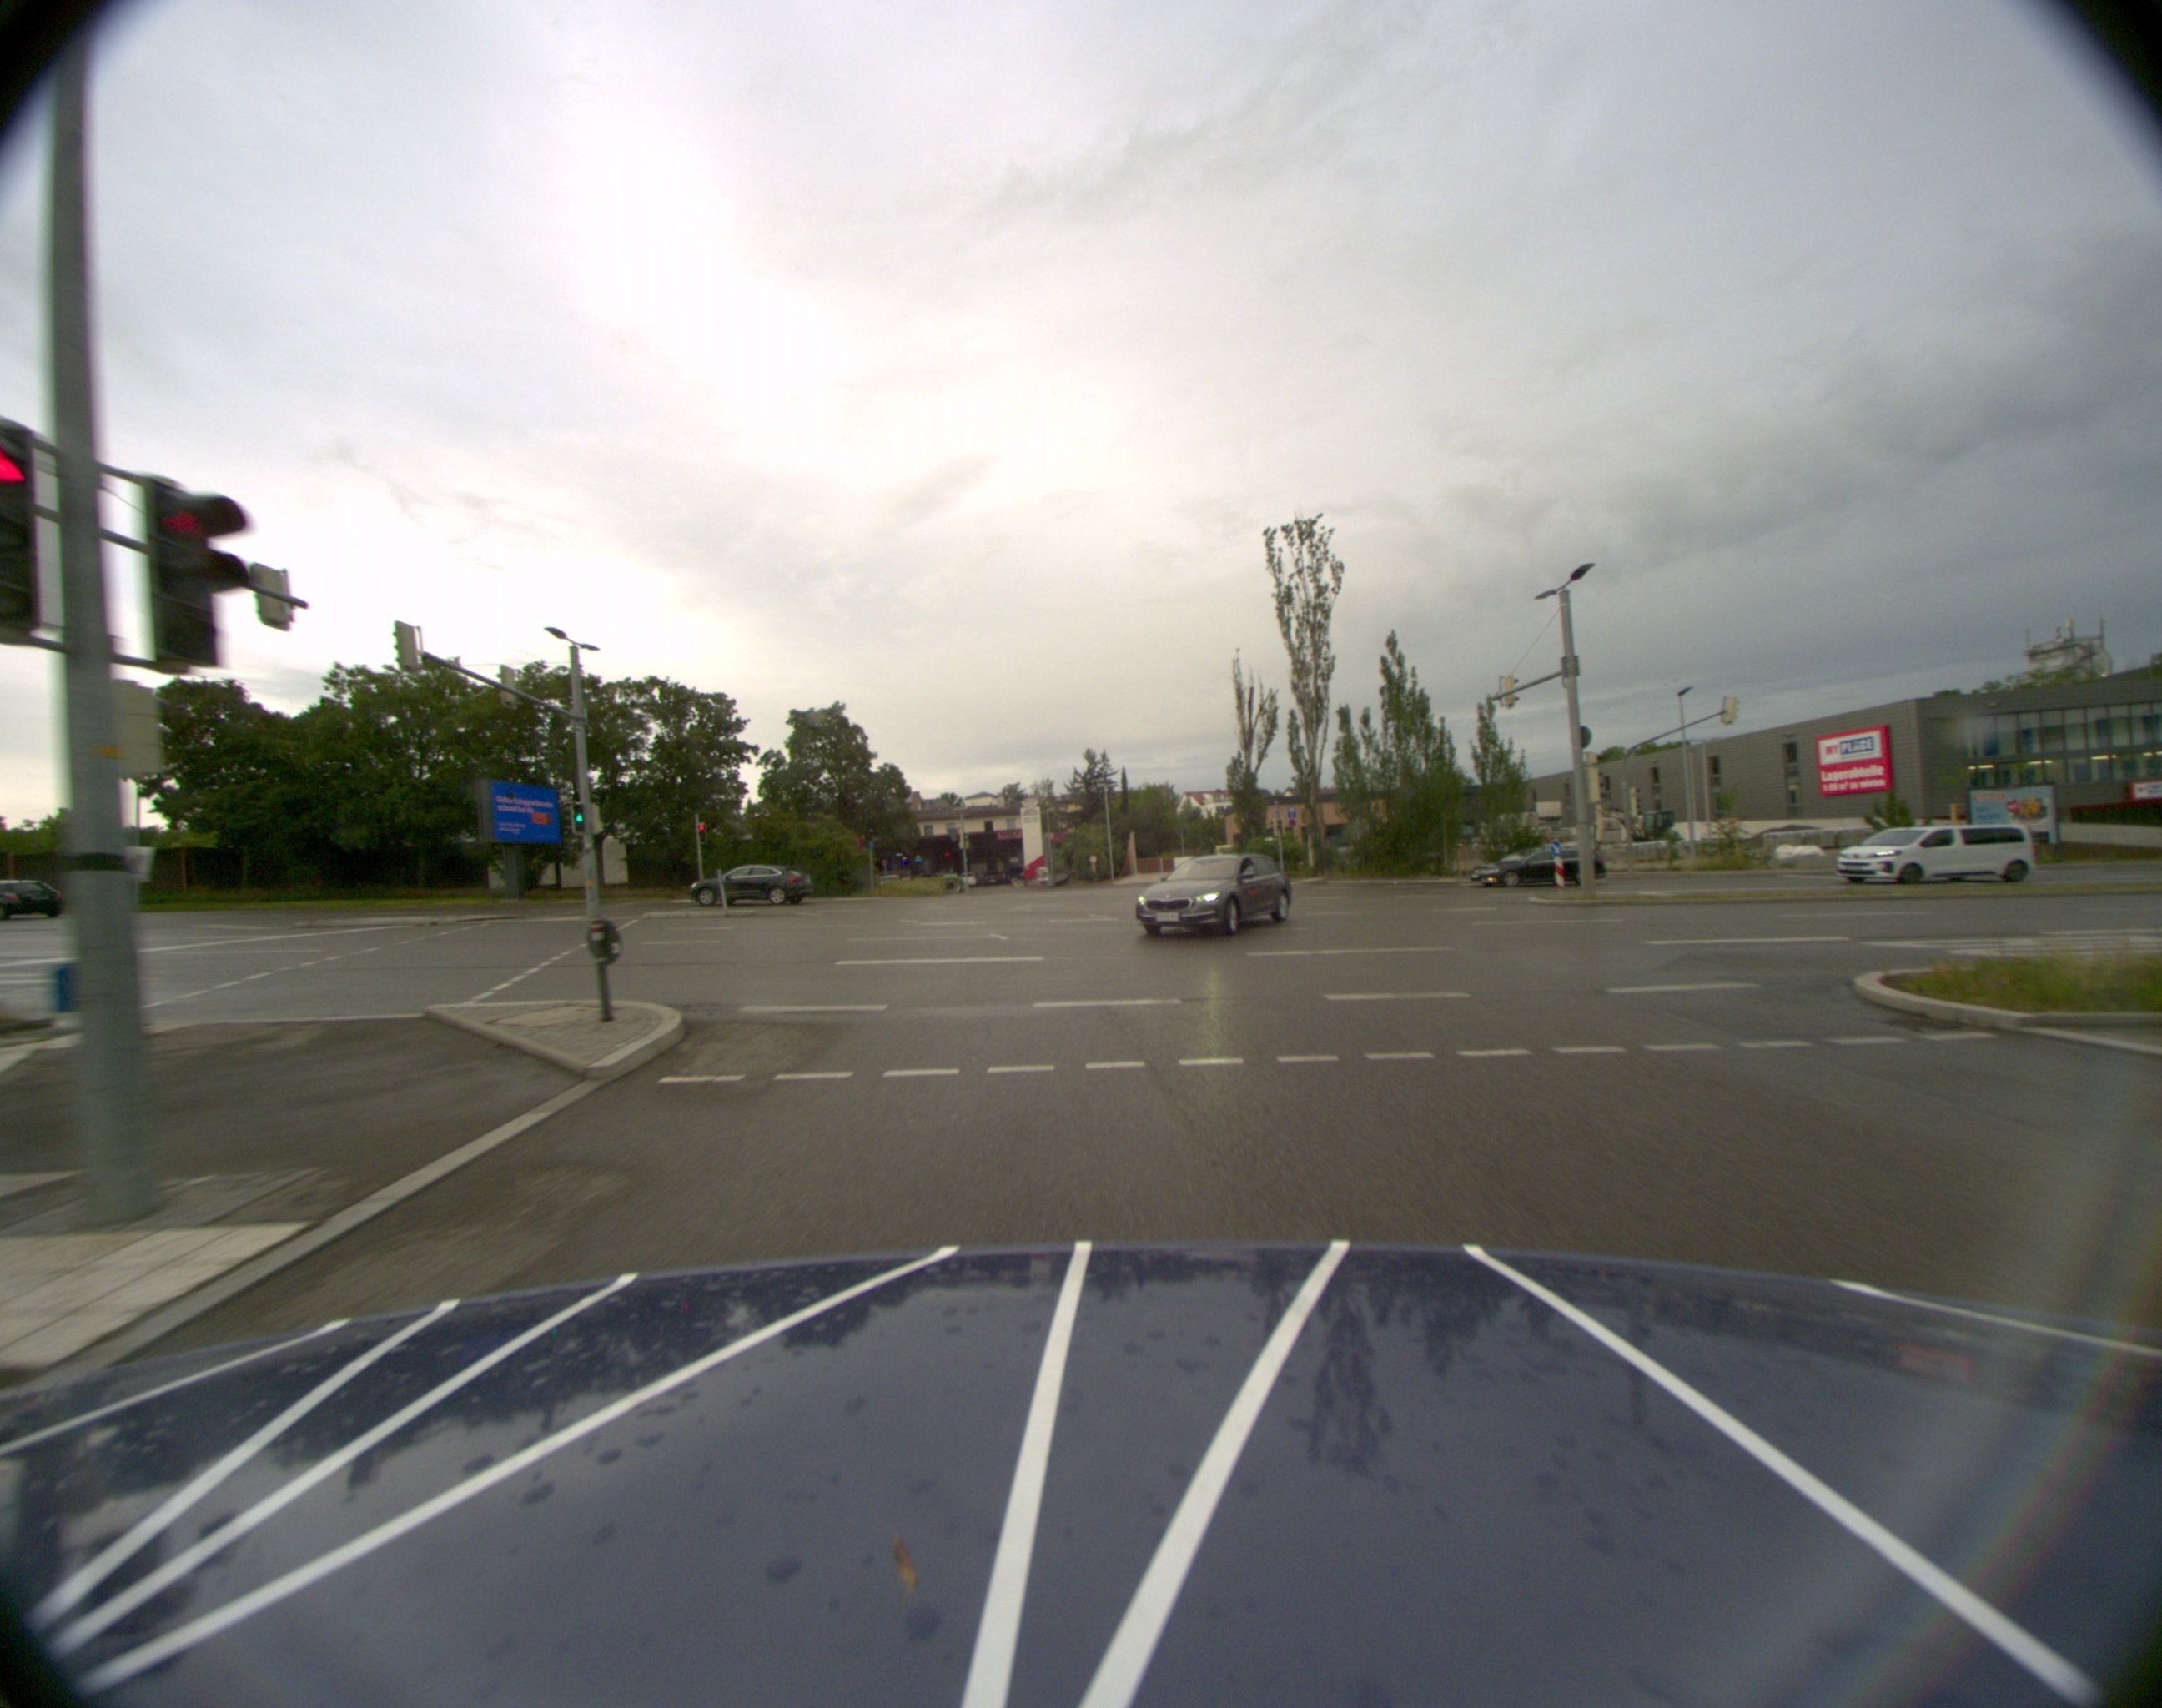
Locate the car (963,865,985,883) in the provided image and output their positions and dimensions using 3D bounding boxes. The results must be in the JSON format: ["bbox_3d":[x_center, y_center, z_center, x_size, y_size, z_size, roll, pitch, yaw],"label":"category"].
[{"bbox_3d":[-10.912,2.030,77.448,1.746,1.641,3.999,-1,0,-2],"label":"car"}]

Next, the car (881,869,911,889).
[{"bbox_3d":[-16.169,2.184,66.648,1.746,1.641,3.999,-1,0,-2],"label":"car"}]

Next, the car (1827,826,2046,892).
[{"bbox_3d":[28.515,0.169,25.449,5.189,2.022,1.840,-2,0,1],"label":"car"}]

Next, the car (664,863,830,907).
[{"bbox_3d":[-12.725,1.177,29.169,5.530,1.491,1.840,-2,0,0],"label":"car"}]

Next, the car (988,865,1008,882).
[{"bbox_3d":[-8.410,1.971,77.306,1.746,1.641,3.999,-1,0,-2],"label":"car"}]

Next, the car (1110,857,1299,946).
[{"bbox_3d":[2.572,0.830,15.007,1.835,1.448,4.211,-1,0,38],"label":"car"}]

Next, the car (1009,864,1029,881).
[{"bbox_3d":[-6.243,1.875,77.156,1.746,1.641,3.999,-1,0,-2],"label":"car"}]

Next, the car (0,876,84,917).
[{"bbox_3d":[-42.252,1.694,29.881,3.823,1.491,1.726,-2,0,1],"label":"car"}]

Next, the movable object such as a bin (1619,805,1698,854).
[{"bbox_3d":[32.538,-1.370,42.883,2.998,2.611,1.928,-1,0,-5],"label":"movable object such as a bin"}]

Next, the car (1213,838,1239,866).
[{"bbox_3d":[12.499,-0.187,65.682,1.745,2.301,5.225,-1,0,7],"label":"car"}]

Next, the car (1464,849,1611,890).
[{"bbox_3d":[17.371,0.577,29.058,4.479,1.396,1.840,-2,0,1],"label":"car"}]
